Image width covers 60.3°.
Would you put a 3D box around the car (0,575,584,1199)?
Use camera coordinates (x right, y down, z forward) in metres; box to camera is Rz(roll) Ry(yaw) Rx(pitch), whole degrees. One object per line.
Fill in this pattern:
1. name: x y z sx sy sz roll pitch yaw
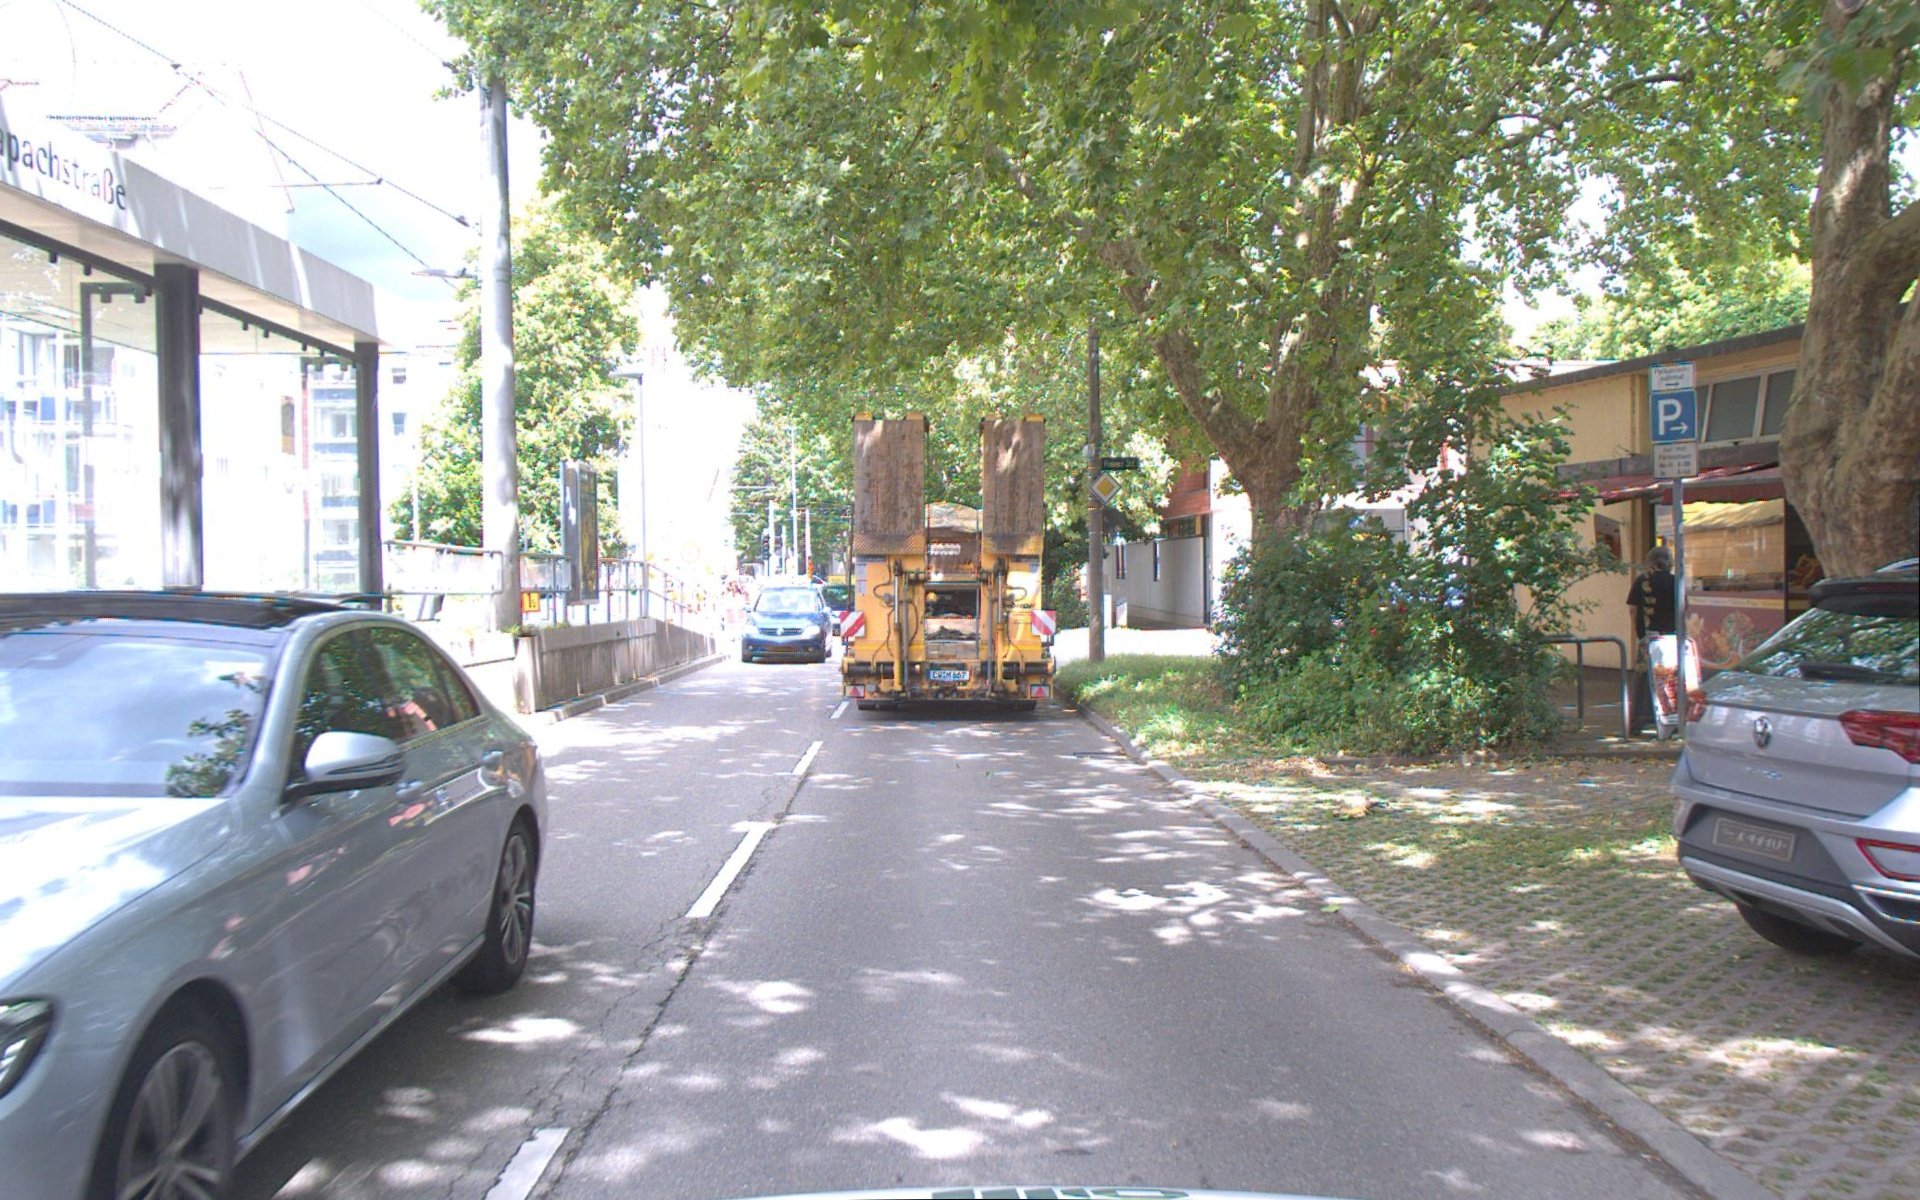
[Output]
1. car: -2.420 0.691 4.816 1.727 1.507 4.575 1 0 -2

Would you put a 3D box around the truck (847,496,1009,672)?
1. truck: -0.638 -0.321 34.064 2.928 3.190 7.886 0 0 -1

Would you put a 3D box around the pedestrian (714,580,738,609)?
1. pedestrian: -13.954 -0.325 98.657 0.873 1.745 1.103 1 0 44

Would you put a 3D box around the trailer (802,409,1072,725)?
1. trailer: -0.414 -0.413 24.556 3.090 3.614 11.093 0 0 -2

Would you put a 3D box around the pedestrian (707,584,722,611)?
1. pedestrian: -15.478 -0.151 104.238 0.870 1.673 0.834 0 0 -15

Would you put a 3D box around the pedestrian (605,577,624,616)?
1. pedestrian: -15.634 -0.153 74.914 0.685 1.748 0.867 0 0 -1

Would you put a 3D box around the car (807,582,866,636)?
1. car: -3.961 0.267 53.507 1.718 1.662 4.117 1 0 -2

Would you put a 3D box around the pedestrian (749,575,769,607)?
1. pedestrian: -12.275 -0.547 100.971 0.868 1.900 0.836 1 0 27

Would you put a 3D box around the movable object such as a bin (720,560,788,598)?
1. movable object such as a bin: -14.535 -1.468 116.610 4.280 2.675 2.219 0 0 25

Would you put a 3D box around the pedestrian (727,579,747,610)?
1. pedestrian: -13.065 -0.341 96.849 0.867 1.791 0.837 0 0 18

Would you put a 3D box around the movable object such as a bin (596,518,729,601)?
1. movable object such as a bin: -20.156 -2.701 111.874 9.020 5.509 2.662 0 0 25

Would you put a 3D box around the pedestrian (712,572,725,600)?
1. pedestrian: -16.444 -0.947 112.469 0.820 1.900 0.885 0 0 -13

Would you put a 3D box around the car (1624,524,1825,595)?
1. car: 17.135 -0.918 37.125 3.914 1.468 1.523 -2 2 -10

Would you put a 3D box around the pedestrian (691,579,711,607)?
1. pedestrian: -15.506 -0.406 98.963 0.877 1.673 0.890 0 0 -32

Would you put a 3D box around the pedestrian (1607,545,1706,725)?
1. pedestrian: 6.763 0.329 16.089 0.611 1.705 0.771 -1 0 -1

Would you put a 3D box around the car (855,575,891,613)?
1. car: -4.412 -0.276 83.907 1.718 1.873 4.643 -1 -1 -3

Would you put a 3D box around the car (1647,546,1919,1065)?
1. car: 4.688 0.565 5.980 3.758 1.589 1.617 -2 0 -8

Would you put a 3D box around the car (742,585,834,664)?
1. car: -3.620 0.500 35.342 1.662 1.592 3.859 0 0 -2

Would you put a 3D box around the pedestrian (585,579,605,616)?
1. pedestrian: -16.442 -0.122 74.522 0.717 1.654 0.867 0 0 -1

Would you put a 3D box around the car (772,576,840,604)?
1. car: -11.968 -0.745 128.689 5.006 2.139 1.968 0 0 -16

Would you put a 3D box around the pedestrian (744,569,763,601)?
1. pedestrian: -12.302 -0.869 98.511 0.876 1.900 0.829 0 0 -30
